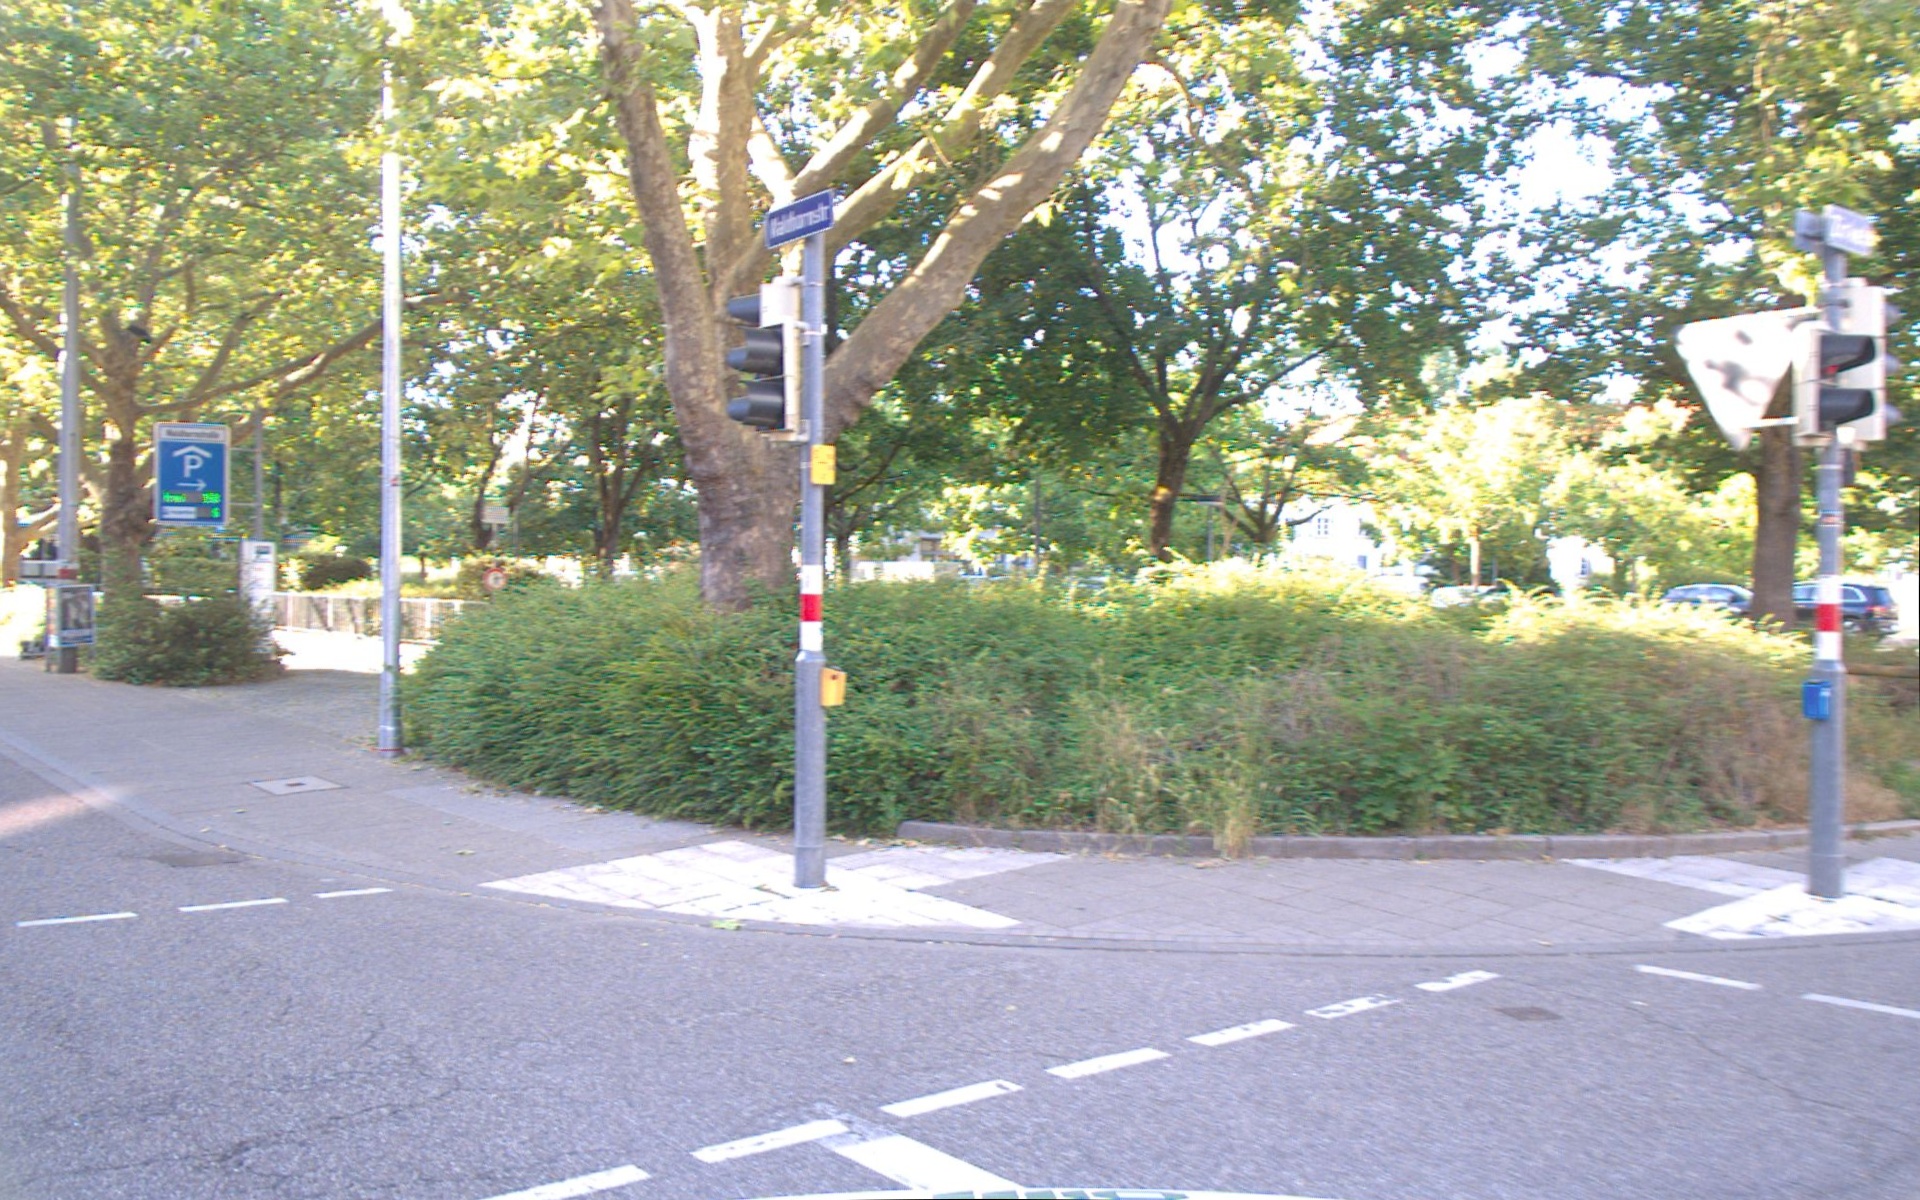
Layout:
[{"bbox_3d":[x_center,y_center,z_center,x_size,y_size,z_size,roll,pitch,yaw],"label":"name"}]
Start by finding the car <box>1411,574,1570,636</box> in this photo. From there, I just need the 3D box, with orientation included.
[{"bbox_3d":[15.138,0.122,47.334,1.905,1.654,3.946,2,0,-38],"label":"car"}]

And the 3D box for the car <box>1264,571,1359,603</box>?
[{"bbox_3d":[18.049,-0.661,85.175,1.994,1.500,4.594,2,0,-38],"label":"car"}]

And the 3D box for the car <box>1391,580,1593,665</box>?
[{"bbox_3d":[12.439,0.474,38.856,1.771,1.843,4.250,0,1,-40],"label":"car"}]

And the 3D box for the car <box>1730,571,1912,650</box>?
[{"bbox_3d":[24.499,0.254,47.180,1.771,2.125,4.250,0,1,-40],"label":"car"}]
